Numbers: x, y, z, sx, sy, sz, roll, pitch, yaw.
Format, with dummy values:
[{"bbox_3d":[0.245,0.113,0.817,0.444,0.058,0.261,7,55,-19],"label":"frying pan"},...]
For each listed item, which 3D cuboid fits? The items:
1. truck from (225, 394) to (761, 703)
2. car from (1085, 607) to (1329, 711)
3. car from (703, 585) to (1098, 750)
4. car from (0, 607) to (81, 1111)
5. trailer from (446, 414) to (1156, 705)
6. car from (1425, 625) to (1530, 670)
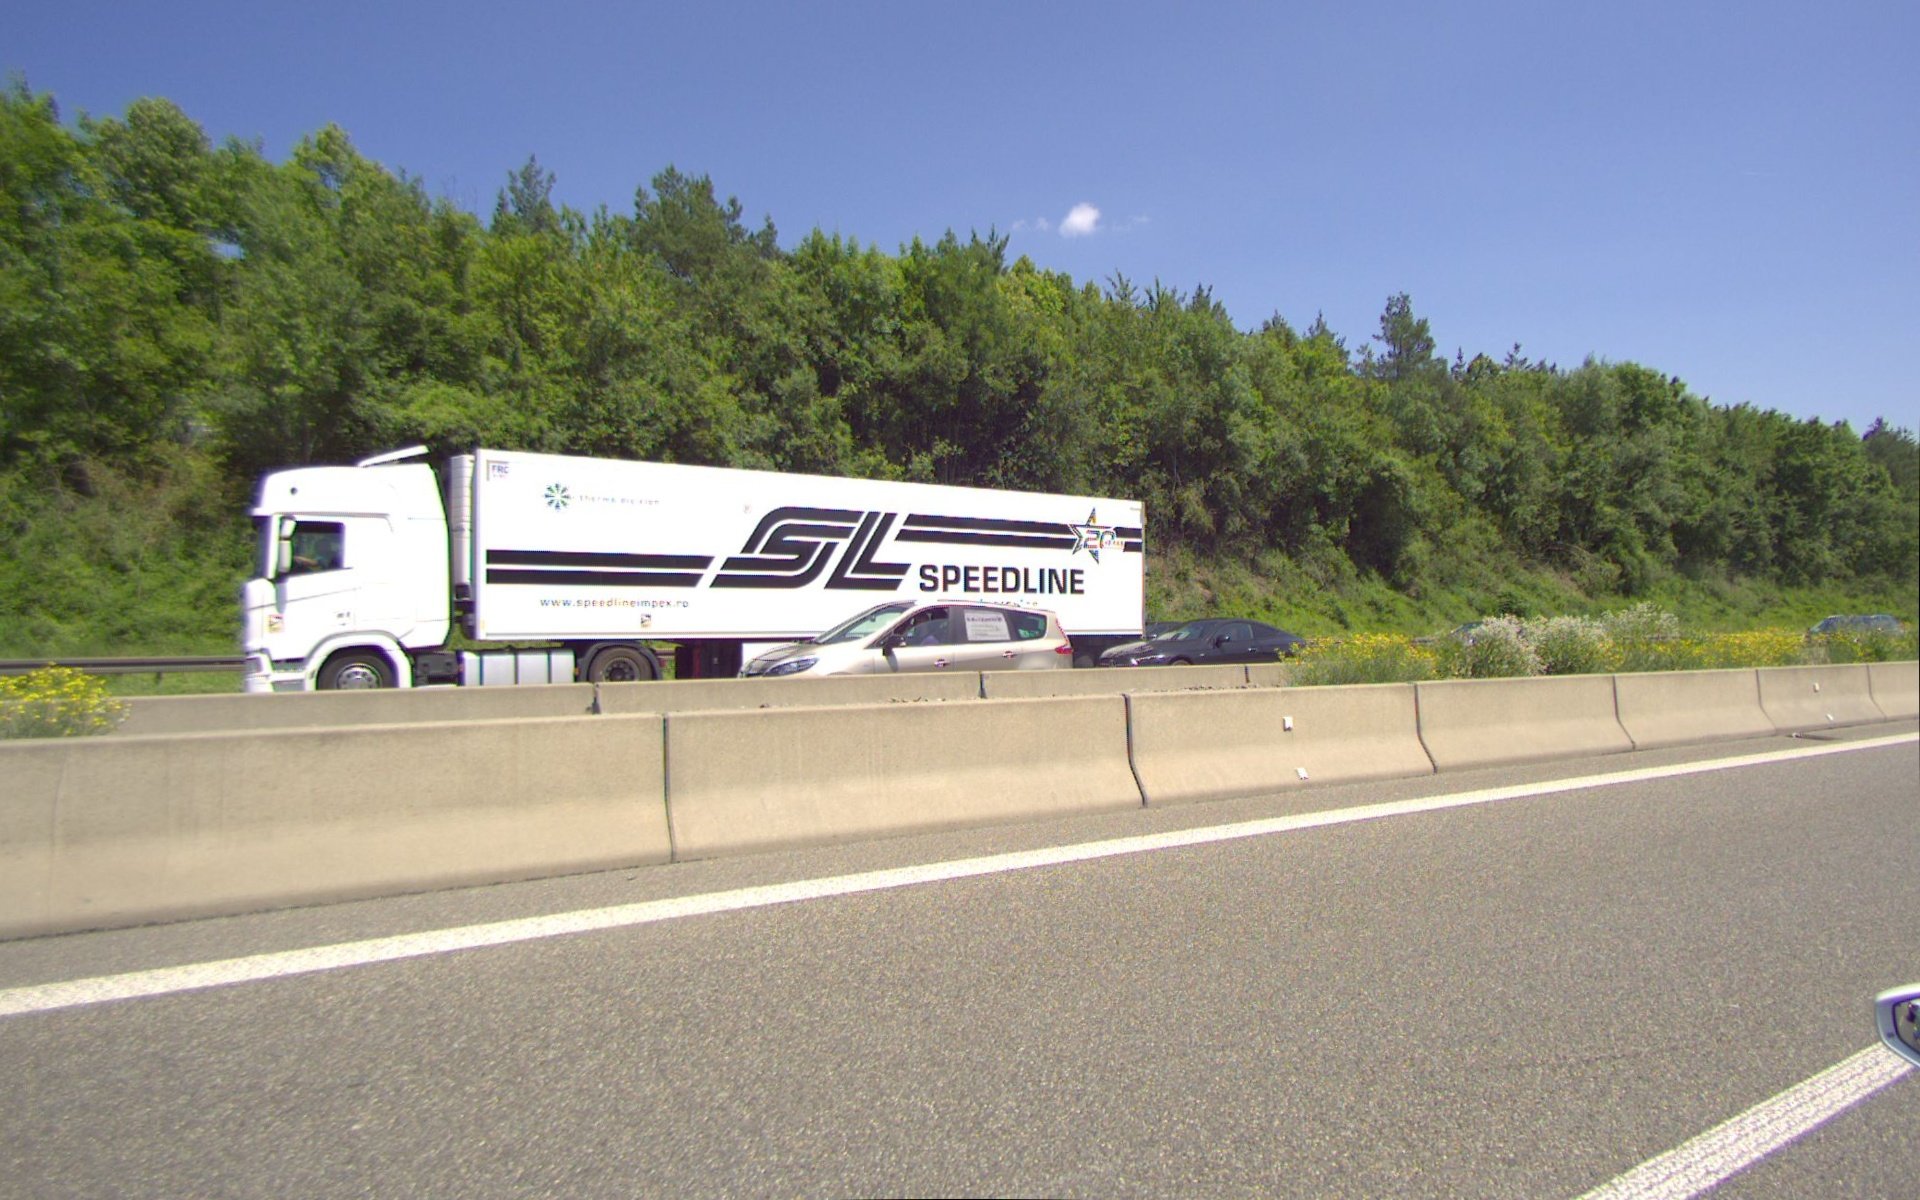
[{"bbox_3d":[-7.421,-0.569,16.829,7.511,4.219,2.790,2,-2,-31],"label":"truck"},{"bbox_3d":[4.800,1.121,19.343,4.676,1.799,1.777,2,-3,-30],"label":"car"},{"bbox_3d":[-0.681,0.824,12.843,4.732,1.779,1.875,2,-3,-30],"label":"car"},{"bbox_3d":[-4.699,0.698,1.588,4.673,1.446,1.725,1,-2,-30],"label":"car"},{"bbox_3d":[-2.291,-0.383,19.932,13.875,4.395,2.789,2,-2,-31],"label":"trailer"},{"bbox_3d":[18.845,1.693,36.548,3.953,1.539,1.556,1,-1,-30],"label":"car"}]
